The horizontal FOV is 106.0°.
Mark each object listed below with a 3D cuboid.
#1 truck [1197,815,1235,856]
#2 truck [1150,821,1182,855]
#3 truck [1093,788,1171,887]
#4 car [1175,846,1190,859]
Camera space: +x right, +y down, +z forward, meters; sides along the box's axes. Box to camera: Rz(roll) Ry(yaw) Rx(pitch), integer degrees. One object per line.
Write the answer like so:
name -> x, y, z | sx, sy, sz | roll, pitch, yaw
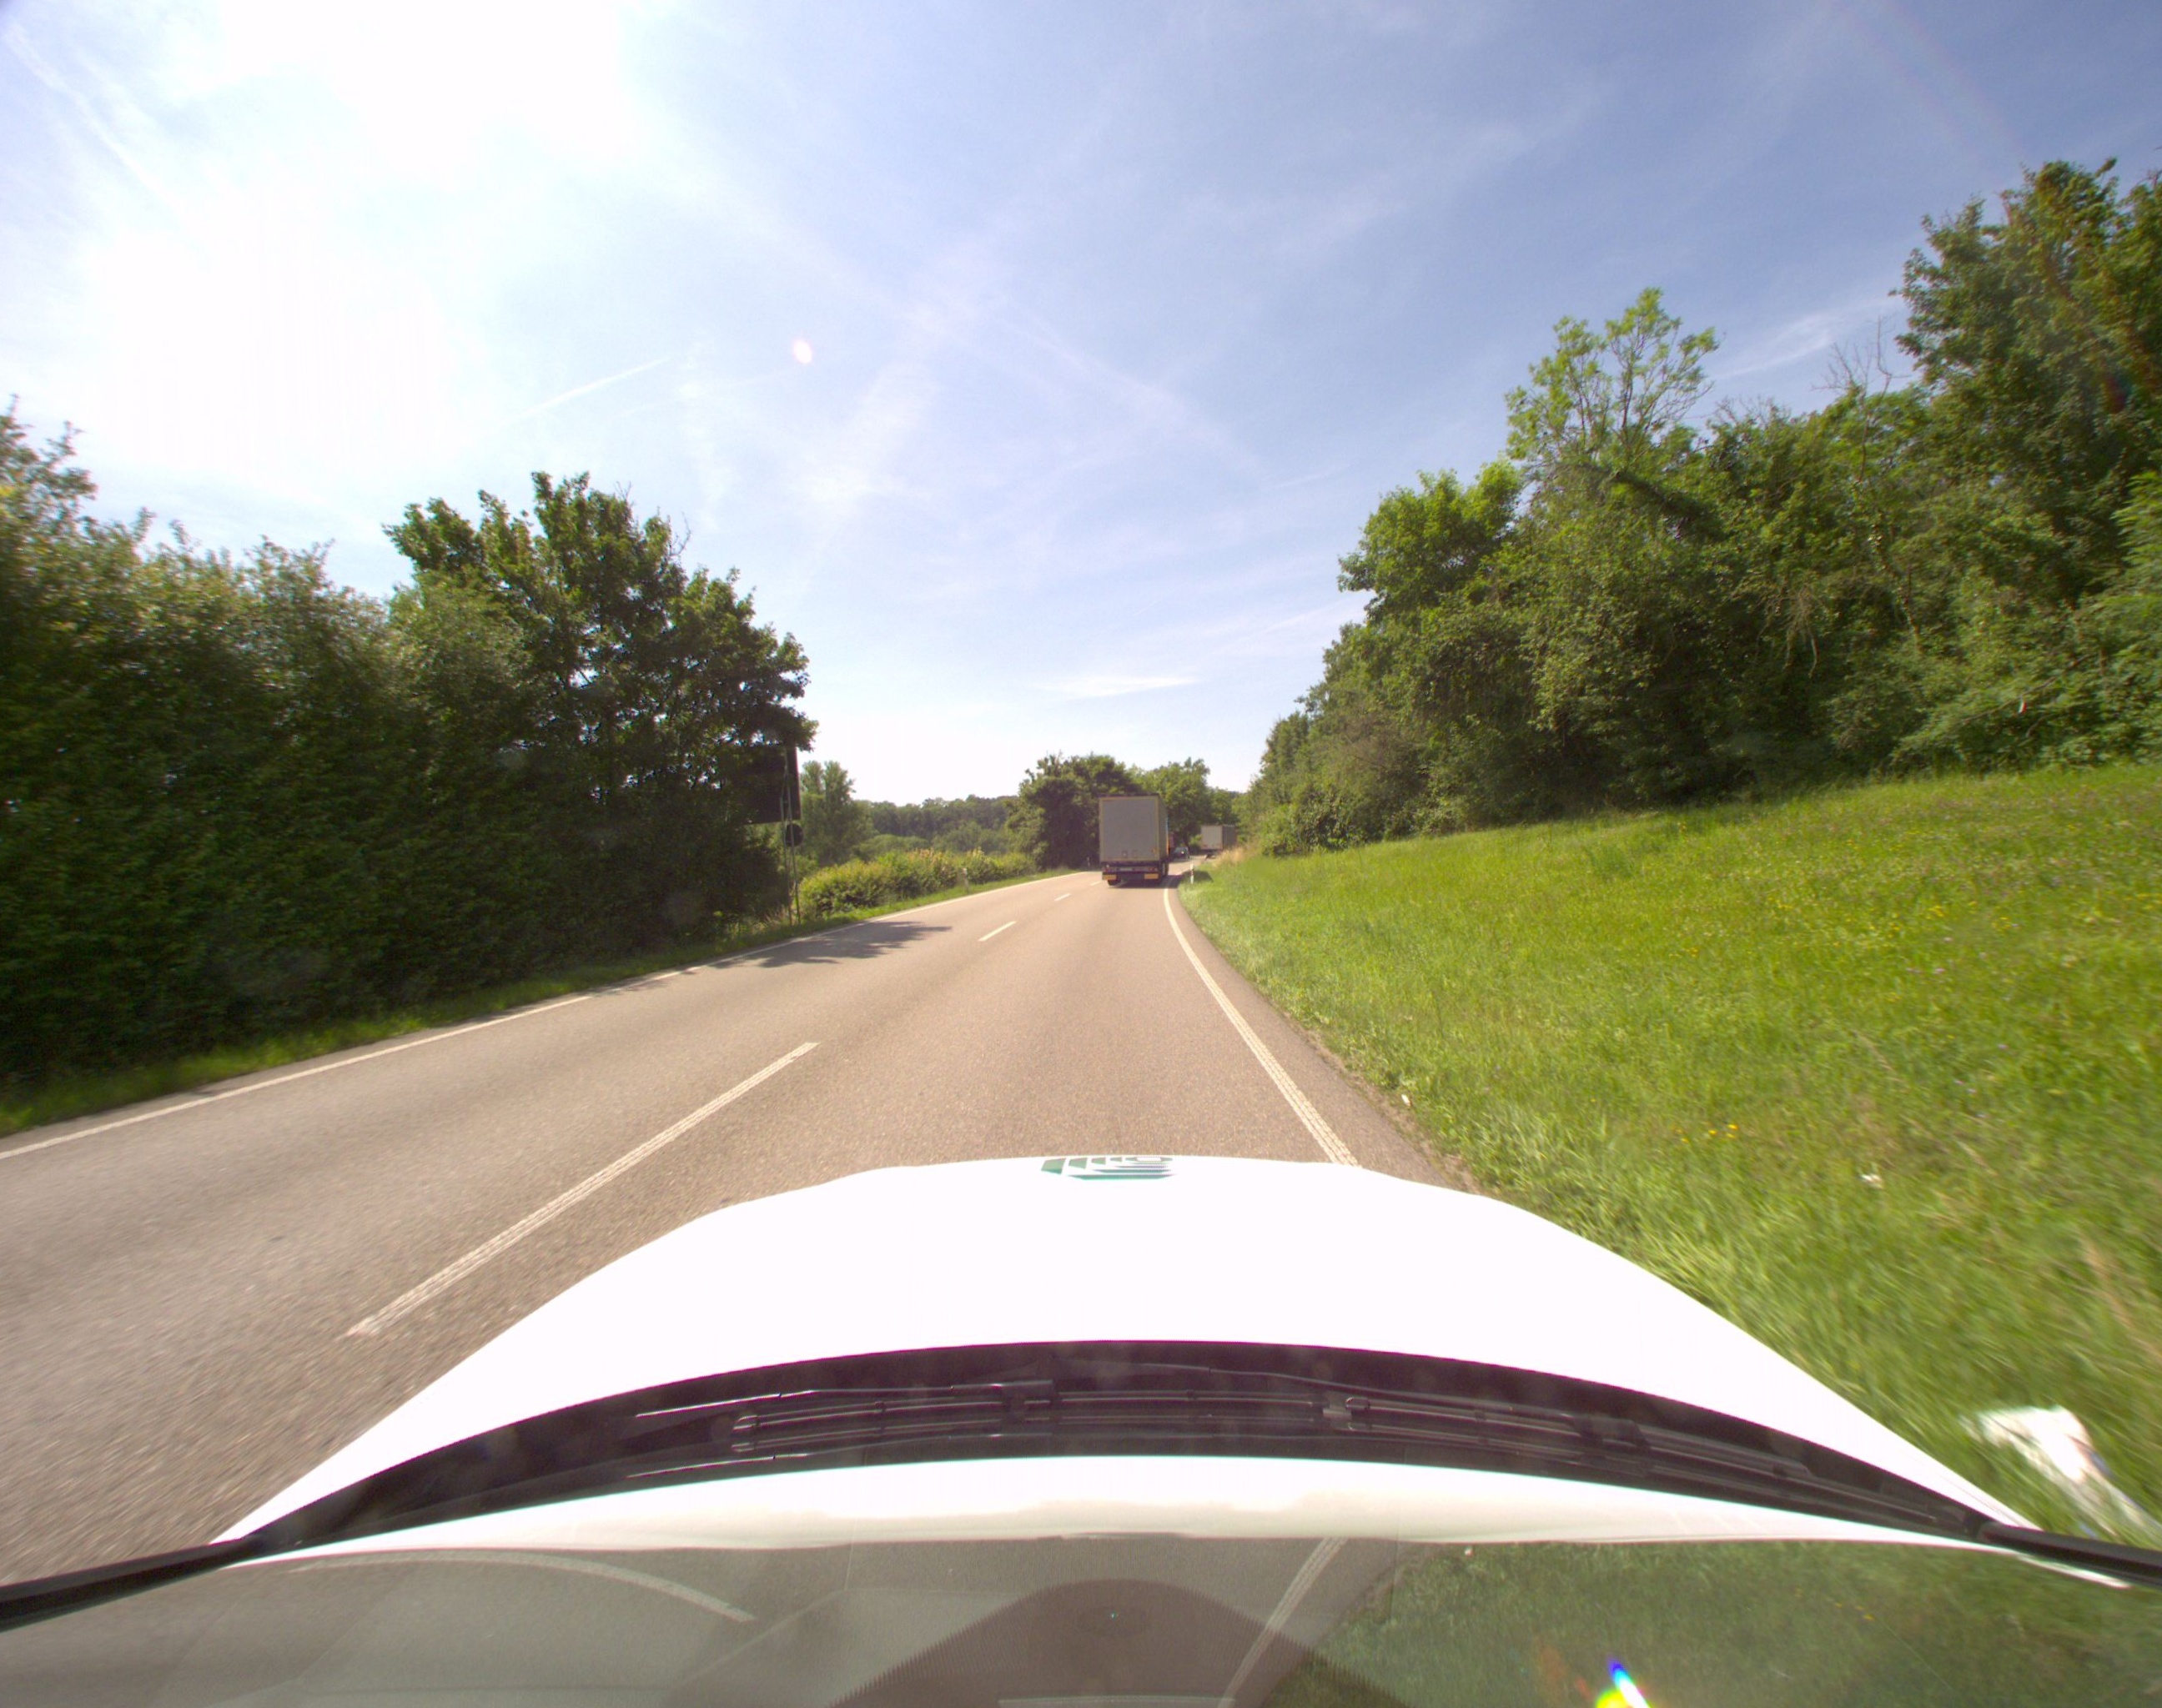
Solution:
truck -> 17.308, -2.458, 103.161 | 3.082, 4.705, 16.657 | -2, 1, 15
truck -> 9.549, -1.662, 89.929 | 2.537, 3.452, 12.670 | -2, 0, 10
truck -> 2.952, -0.720, 41.620 | 2.786, 4.068, 15.358 | -2, 0, 8
car -> 12.668, -0.213, 101.898 | 1.419, 1.471, 3.285 | -2, 0, 15
